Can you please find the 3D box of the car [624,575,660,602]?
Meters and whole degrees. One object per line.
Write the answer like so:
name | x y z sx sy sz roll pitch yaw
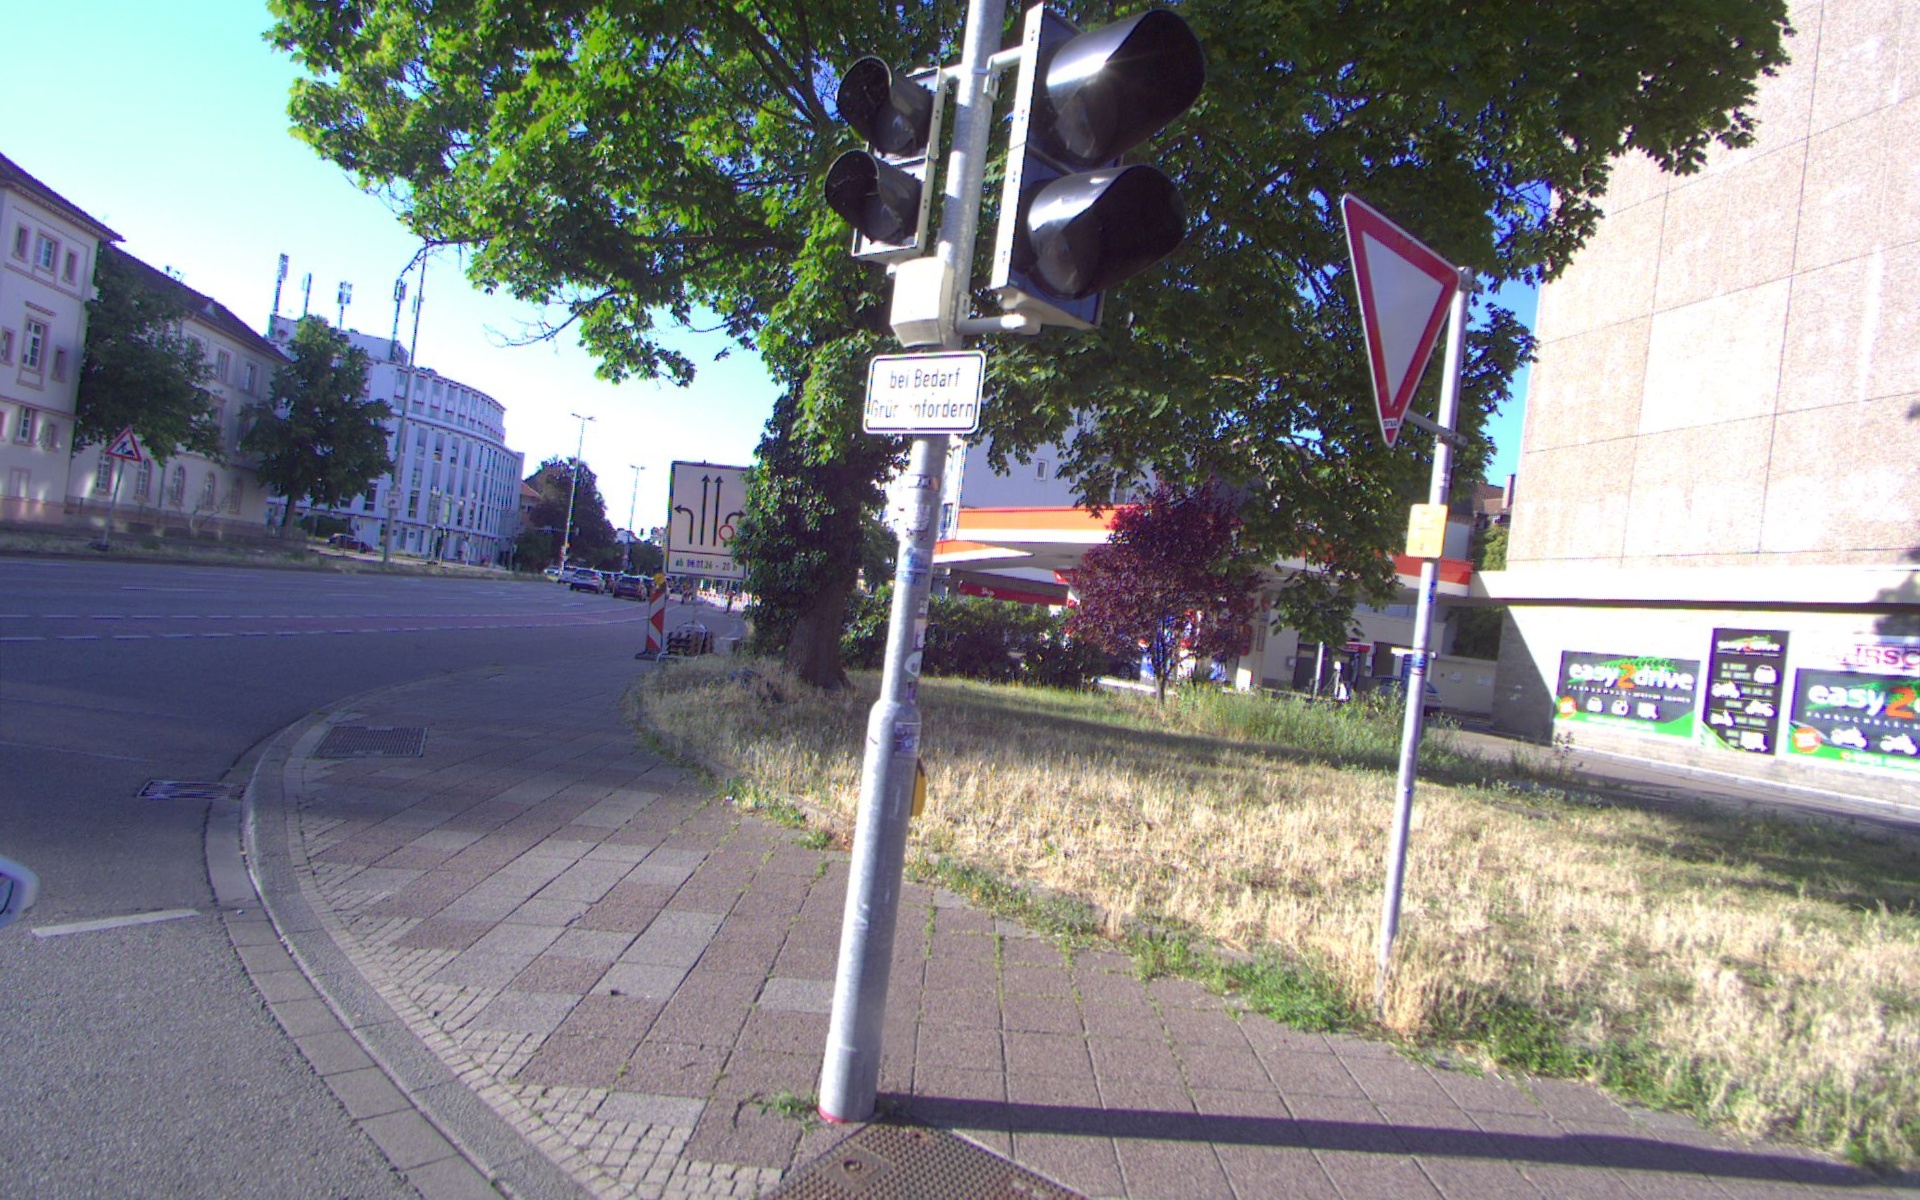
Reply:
car | -21.170 -0.743 67.118 1.732 1.507 3.718 6 -3 -11

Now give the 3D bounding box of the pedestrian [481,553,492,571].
pedestrian | -52.812 -4.228 112.162 0.618 1.891 1.125 7 0 -9

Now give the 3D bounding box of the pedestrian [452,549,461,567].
pedestrian | -55.659 -4.649 111.141 0.654 1.881 0.773 7 0 -26

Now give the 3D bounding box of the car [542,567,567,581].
car | -50.169 -3.153 124.539 1.968 1.430 4.433 7 -1 -13

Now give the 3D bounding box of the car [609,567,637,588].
car | -28.164 -1.866 84.152 1.660 1.522 3.714 7 -1 -13

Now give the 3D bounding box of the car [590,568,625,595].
car | -24.903 -1.295 71.187 1.726 1.583 4.039 8 -1 -13

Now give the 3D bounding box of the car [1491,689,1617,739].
car | 23.683 4.519 40.301 1.724 1.312 4.244 7 -1 -15

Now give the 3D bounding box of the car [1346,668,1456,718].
car | 17.864 3.749 40.998 1.724 1.437 4.244 7 -1 -15

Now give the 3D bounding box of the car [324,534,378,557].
car | -56.505 -5.032 93.418 3.763 1.547 1.858 7 -2 -17

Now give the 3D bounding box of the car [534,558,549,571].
car | -61.930 -5.241 148.979 1.822 1.590 3.982 8 -1 -21

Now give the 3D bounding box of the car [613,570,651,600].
car | -20.099 -0.909 61.741 1.726 1.583 4.039 8 -1 -13

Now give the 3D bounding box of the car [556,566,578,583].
car | -51.365 -3.344 131.636 1.816 1.836 3.995 6 -2 -11

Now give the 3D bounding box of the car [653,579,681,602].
car | -23.545 -0.724 80.912 1.705 1.598 3.715 7 -1 -11

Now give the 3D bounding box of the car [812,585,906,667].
car | -2.312 0.616 24.039 1.672 1.593 4.001 7 -1 0

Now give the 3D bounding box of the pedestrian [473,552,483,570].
pedestrian | -53.685 -4.308 111.961 0.652 1.891 0.776 7 0 -16

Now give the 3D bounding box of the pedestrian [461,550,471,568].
pedestrian | -54.701 -4.505 111.398 0.751 1.864 0.814 7 0 -24

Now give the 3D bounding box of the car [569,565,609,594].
car | -23.479 -1.292 63.848 1.726 1.583 4.039 8 -1 -13

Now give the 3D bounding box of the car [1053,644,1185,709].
car | 5.081 2.447 32.565 1.980 1.371 3.964 8 1 -32

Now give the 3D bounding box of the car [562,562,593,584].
car | -30.135 -2.092 79.315 1.664 1.474 3.989 8 -1 -14
